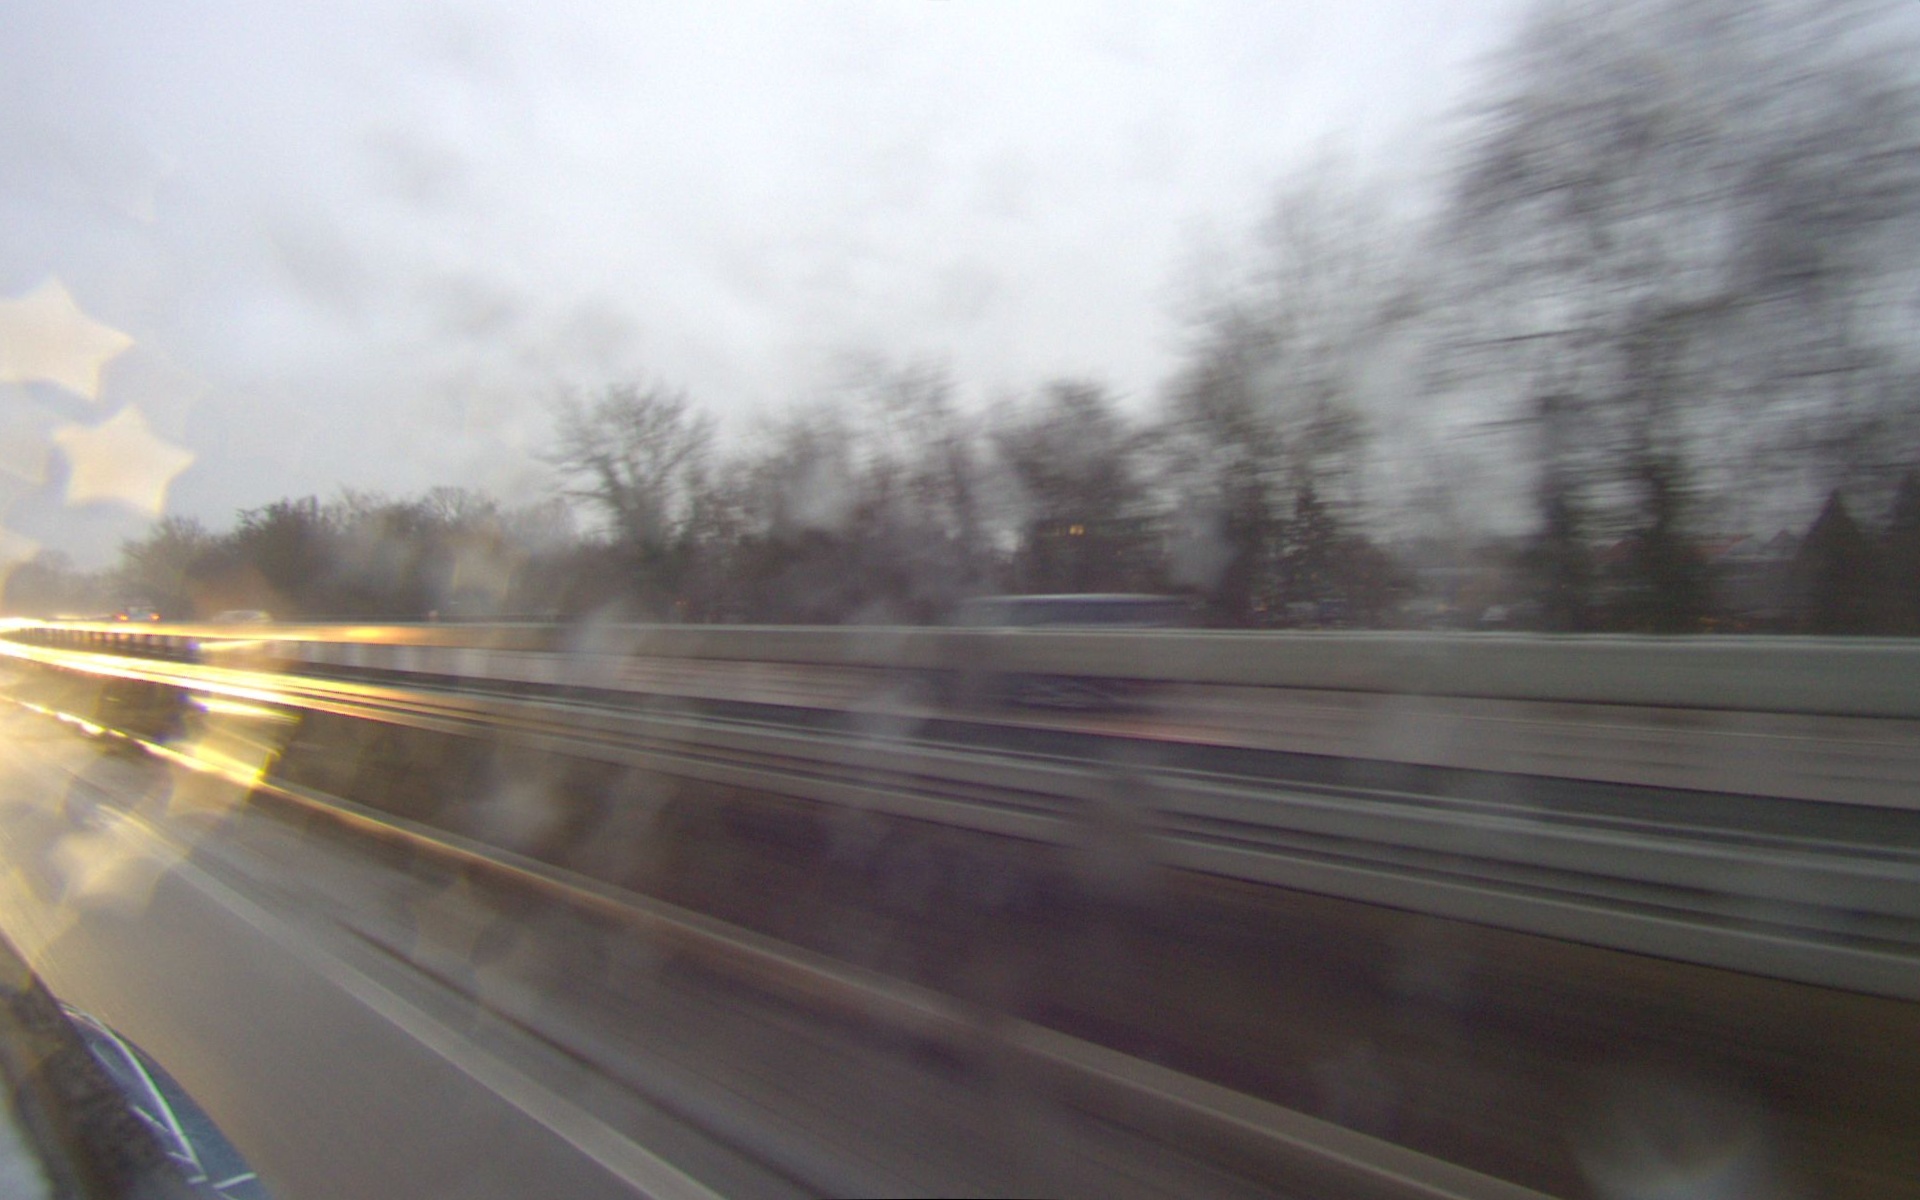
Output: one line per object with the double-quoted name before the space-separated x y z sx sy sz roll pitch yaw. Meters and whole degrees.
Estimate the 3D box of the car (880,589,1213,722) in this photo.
"car" 1.058 0.693 13.831 4.302 1.540 1.826 -2 -1 42

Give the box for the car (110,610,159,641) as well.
"car" -54.436 1.668 66.716 4.302 1.929 1.826 -1 0 42

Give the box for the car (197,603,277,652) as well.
"car" -30.606 1.133 42.801 4.302 1.929 1.826 -1 0 42

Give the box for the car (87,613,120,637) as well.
"car" -70.861 2.056 83.744 1.824 1.817 3.996 -1 0 -44
